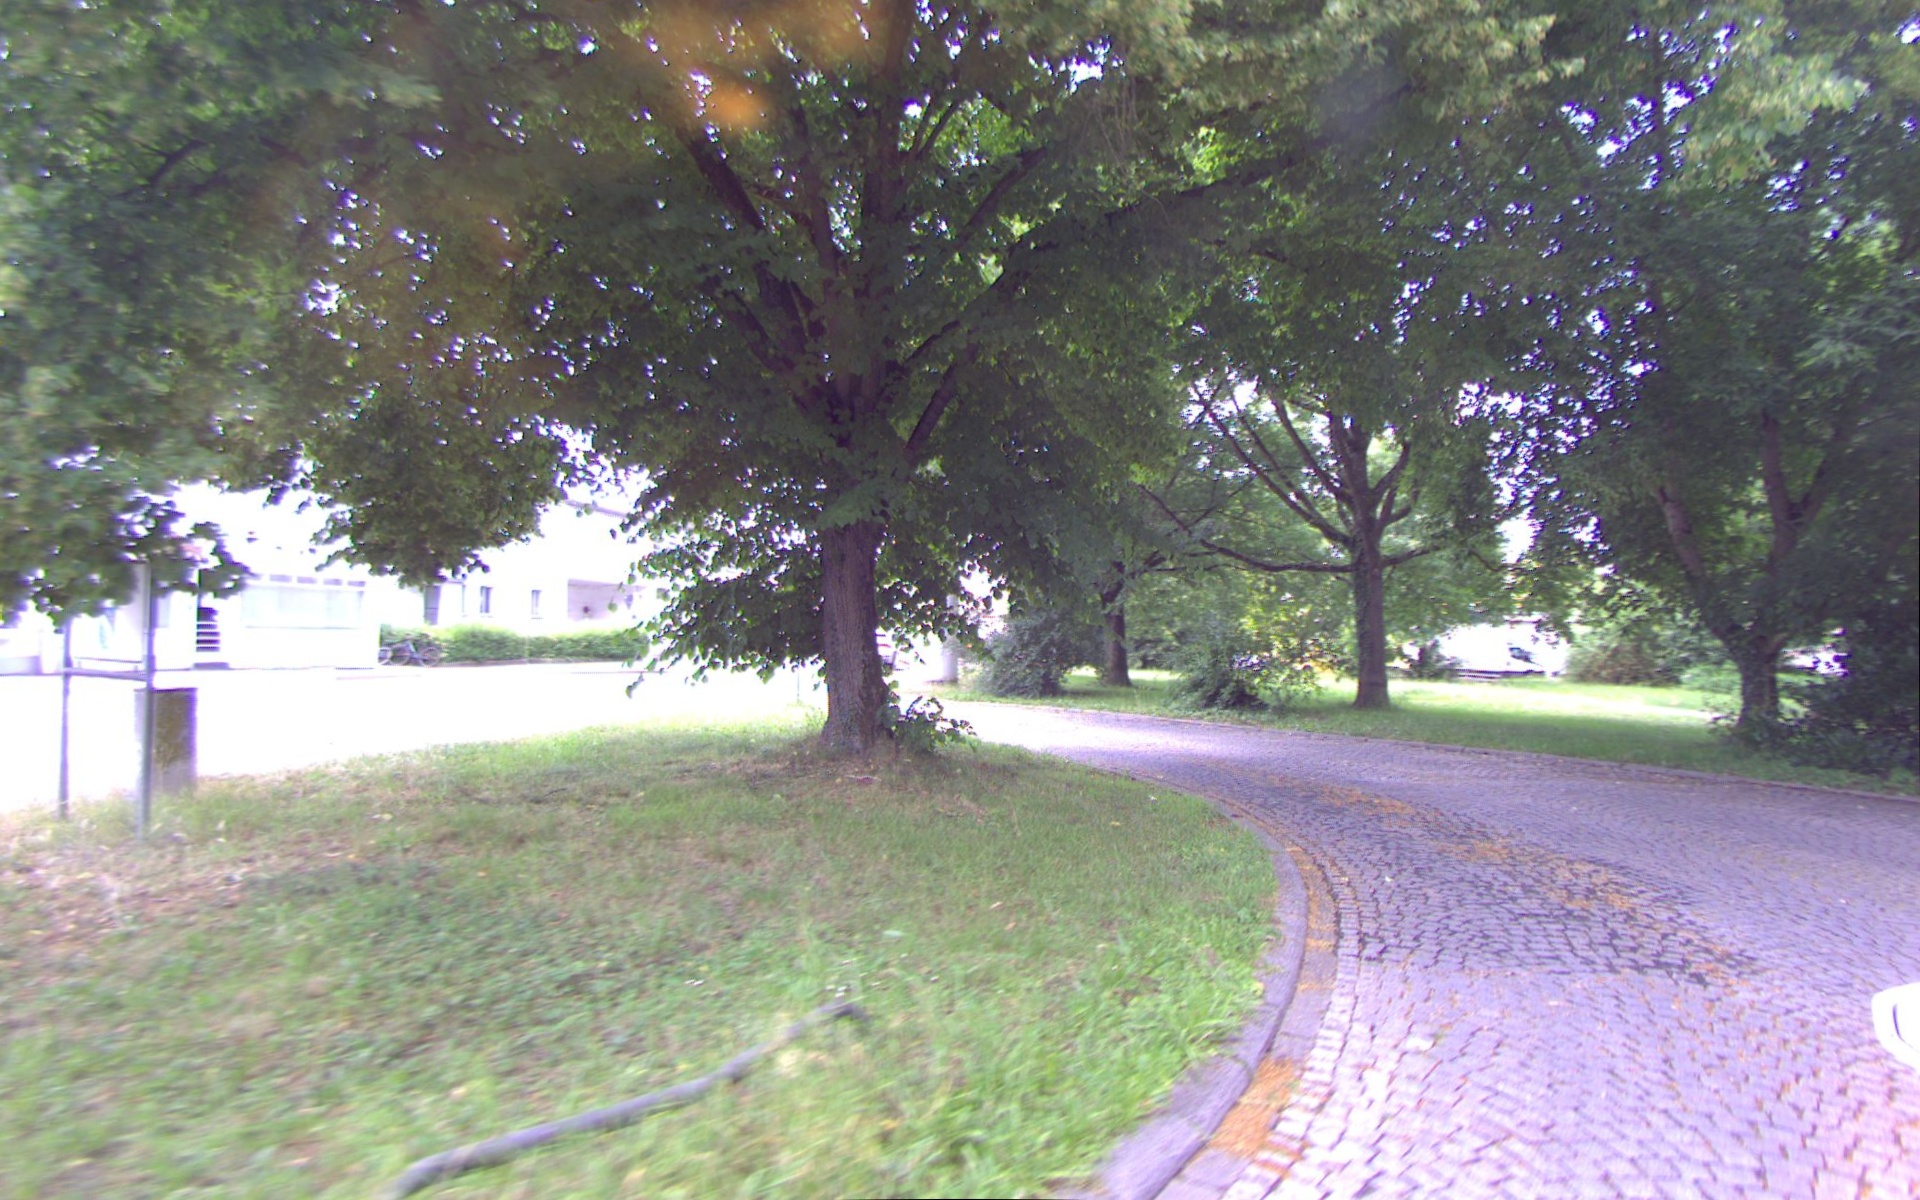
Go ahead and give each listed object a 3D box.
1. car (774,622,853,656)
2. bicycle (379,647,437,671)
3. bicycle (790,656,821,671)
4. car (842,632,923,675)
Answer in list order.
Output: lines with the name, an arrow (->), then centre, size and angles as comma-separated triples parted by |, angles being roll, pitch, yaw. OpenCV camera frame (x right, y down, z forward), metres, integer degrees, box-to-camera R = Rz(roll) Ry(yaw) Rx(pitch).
car -> -9.239, 2.493, 63.501 | 4.552, 2.040, 2.002 | 1, -3, 7
bicycle -> -18.178, 1.939, 33.100 | 1.643, 0.767, 0.411 | 1, -2, -5
bicycle -> -9.057, 3.728, 58.943 | 1.641, 0.767, 0.571 | 2, -2, 7
car -> -3.375, 2.325, 44.584 | 1.948, 1.706, 4.576 | 2, -1, 18
